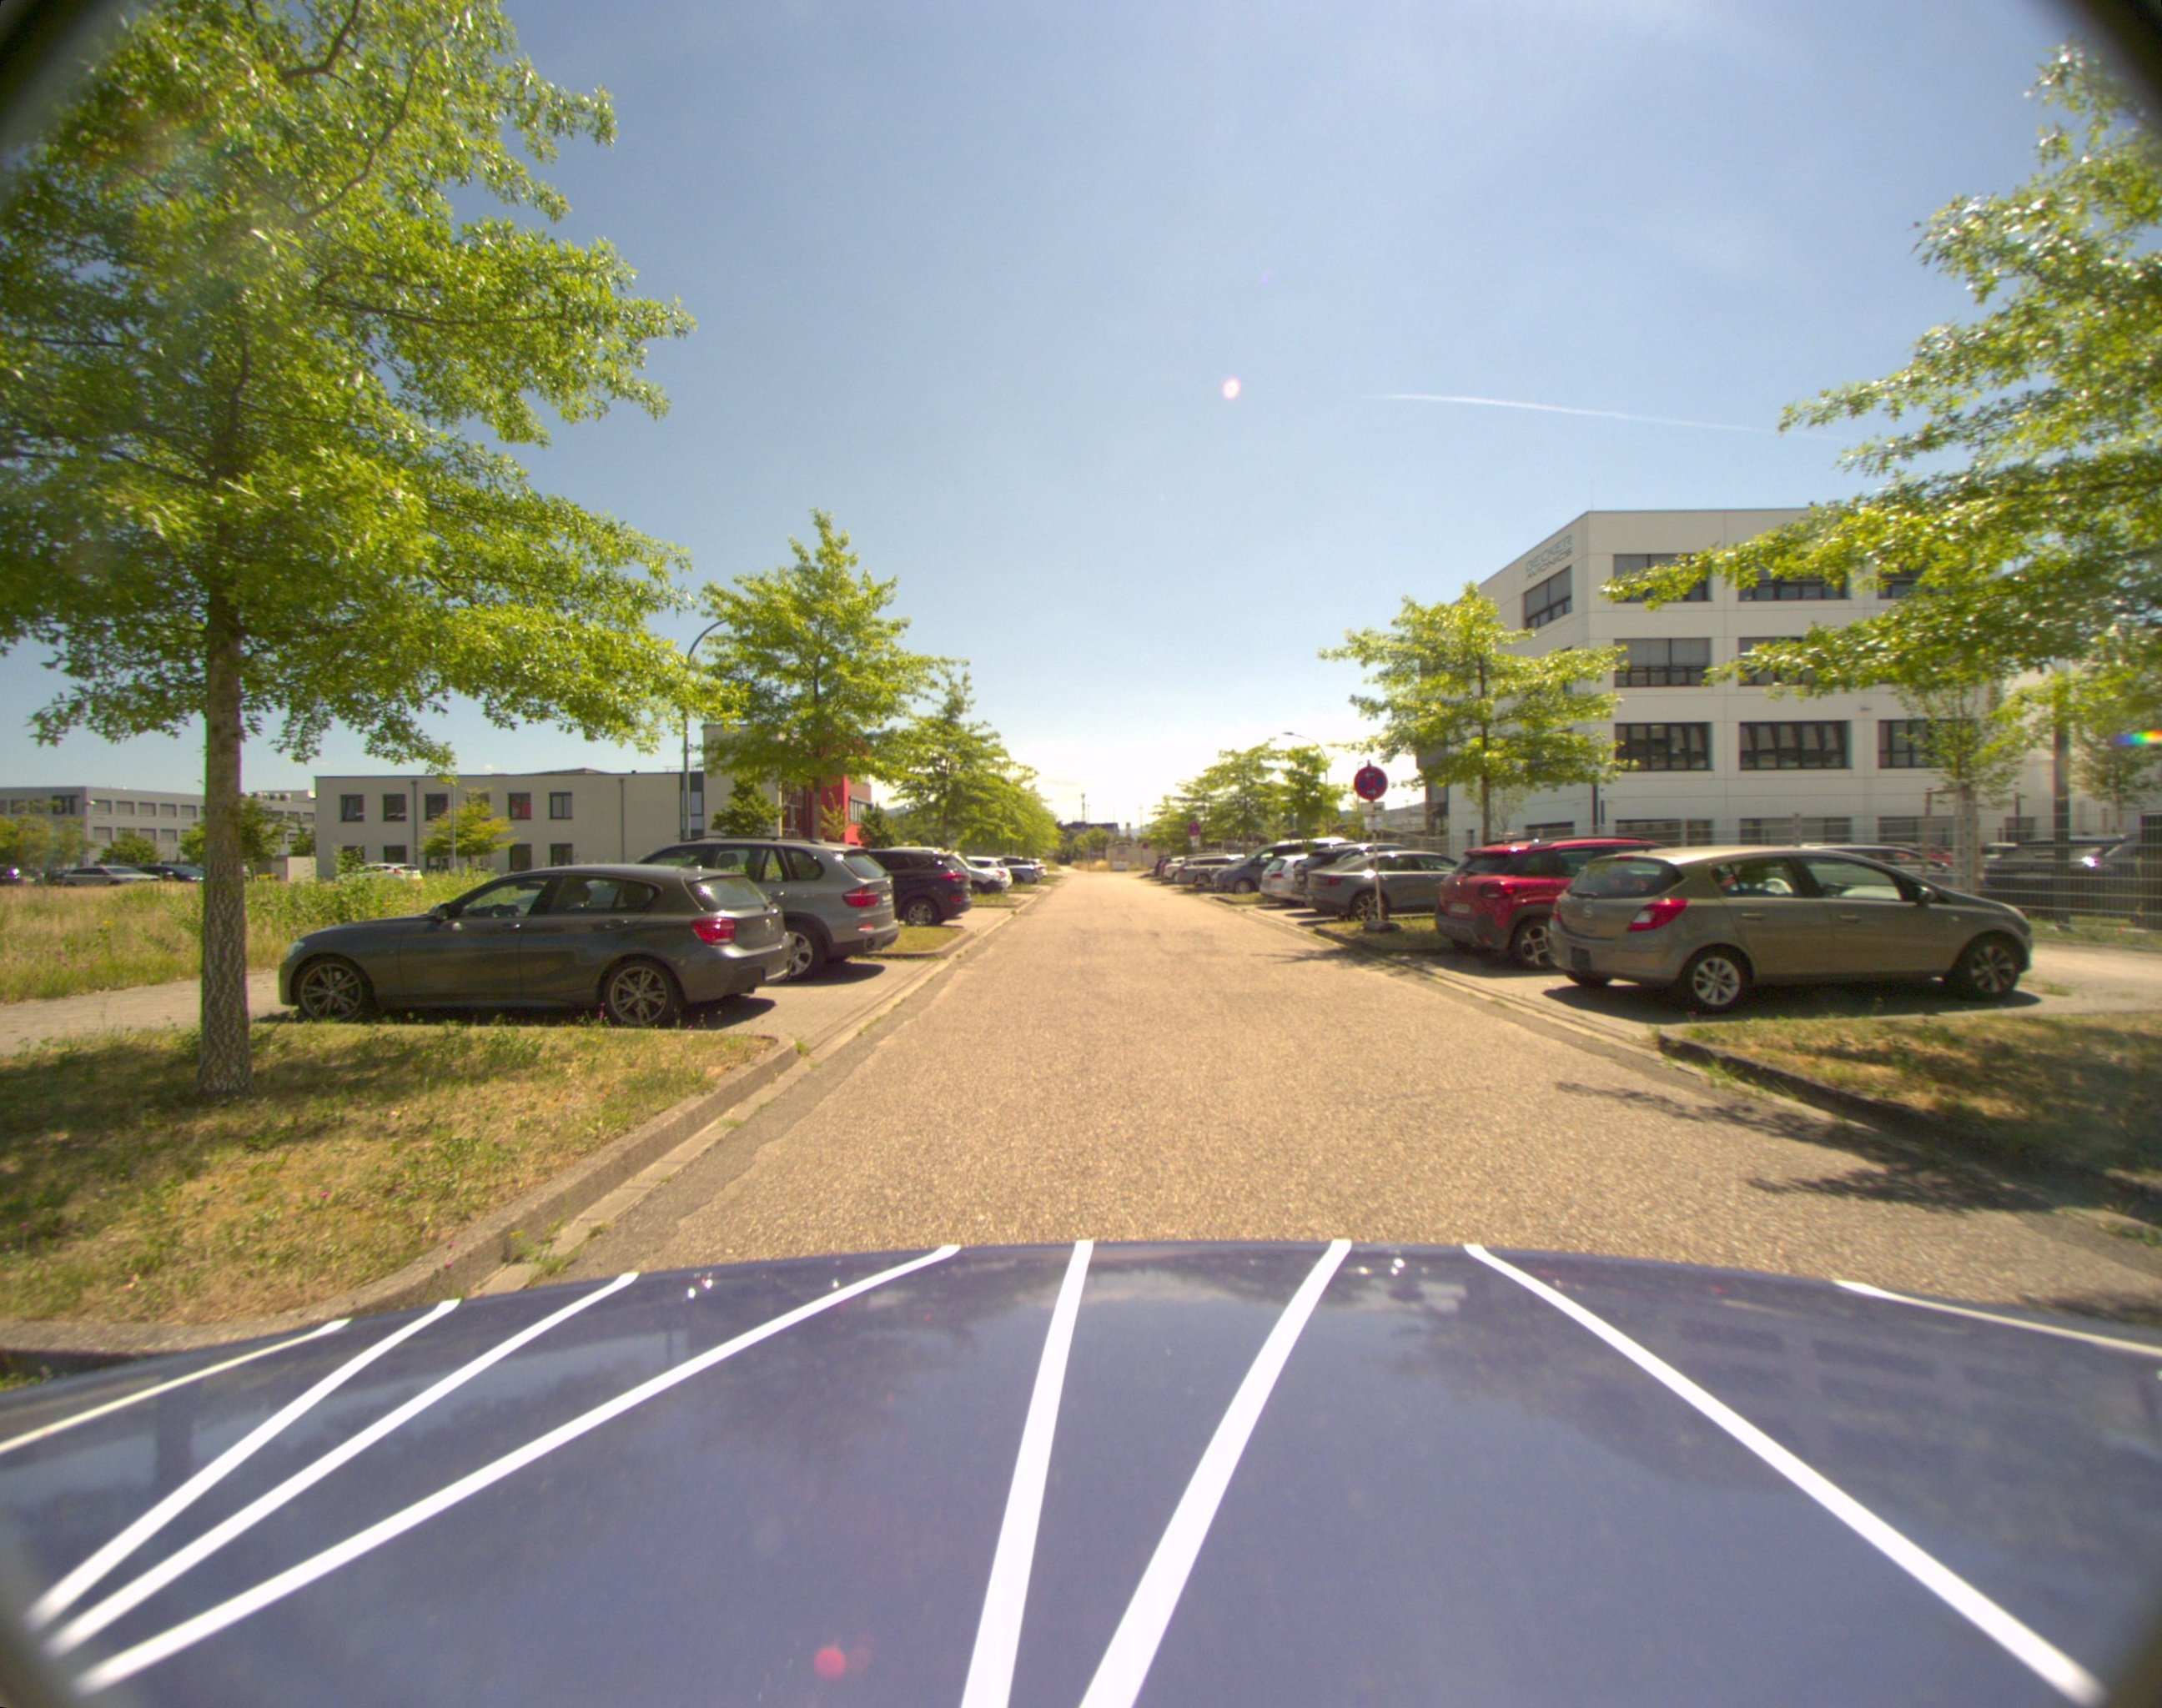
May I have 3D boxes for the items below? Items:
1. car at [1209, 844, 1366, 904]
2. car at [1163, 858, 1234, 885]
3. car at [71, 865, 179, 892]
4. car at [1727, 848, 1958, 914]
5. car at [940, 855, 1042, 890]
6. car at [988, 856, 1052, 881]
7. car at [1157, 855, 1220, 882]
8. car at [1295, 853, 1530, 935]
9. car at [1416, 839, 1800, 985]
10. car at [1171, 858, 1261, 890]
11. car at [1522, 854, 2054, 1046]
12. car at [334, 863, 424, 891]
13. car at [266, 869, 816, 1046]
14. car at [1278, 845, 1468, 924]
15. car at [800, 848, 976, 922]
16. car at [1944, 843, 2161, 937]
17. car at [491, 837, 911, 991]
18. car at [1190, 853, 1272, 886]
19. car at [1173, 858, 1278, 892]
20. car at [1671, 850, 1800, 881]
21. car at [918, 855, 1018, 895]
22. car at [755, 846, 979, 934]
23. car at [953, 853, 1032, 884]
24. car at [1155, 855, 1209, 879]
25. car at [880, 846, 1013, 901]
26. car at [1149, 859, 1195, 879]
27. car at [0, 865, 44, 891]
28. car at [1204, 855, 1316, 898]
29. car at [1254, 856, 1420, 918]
[{"bbox_3d":[7.312,0.701,27.292,5.082,1.880,1.997,-2,0,2],"label":"car"},{"bbox_3d":[7.357,1.098,47.995,4.182,1.504,1.808,-3,-1,2],"label":"car"},{"bbox_3d":[-54.801,1.374,43.615,3.997,1.501,1.719,0,0,-1],"label":"car"},{"bbox_3d":[16.867,0.580,16.962,3.488,1.382,1.678,0,0,0],"label":"car"},{"bbox_3d":[-4.276,0.861,36.654,4.729,1.552,1.913,1,0,-3],"label":"car"},{"bbox_3d":[-3.864,0.918,48.745,3.842,1.544,1.780,0,-1,6],"label":"car"},{"bbox_3d":[7.173,0.958,50.883,3.849,1.582,1.727,-2,0,-2],"label":"car"},{"bbox_3d":[6.932,0.810,16.201,4.203,1.471,1.713,-3,0,1],"label":"car"},{"bbox_3d":[6.707,0.701,10.012,3.747,1.612,1.816,-2,0,1],"label":"car"},{"bbox_3d":[6.971,1.012,39.461,4.322,1.464,1.727,-2,0,-2],"label":"car"},{"bbox_3d":[6.673,0.822,7.456,3.666,1.500,1.731,-2,0,-3],"label":"car"},{"bbox_3d":[-38.137,1.223,41.328,3.331,1.501,1.719,0,0,1],"label":"car"},{"bbox_3d":[-4.883,0.891,7.360,3.932,1.401,1.909,0,1,0],"label":"car"},{"bbox_3d":[7.197,0.721,18.953,3.998,1.669,1.776,-3,0,-4],"label":"car"},{"bbox_3d":[-4.685,0.734,18.848,3.885,1.668,1.782,1,0,1],"label":"car"},{"bbox_3d":[16.656,0.565,12.280,3.488,1.382,1.678,1,0,0],"label":"car"},{"bbox_3d":[-4.689,0.717,9.947,4.461,1.758,1.992,1,0,-1],"label":"car"},{"bbox_3d":[8.196,0.846,41.786,4.127,1.625,1.728,-2,0,2],"label":"car"},{"bbox_3d":[6.983,0.996,36.993,4.725,1.439,1.857,-2,0,-1],"label":"car"},{"bbox_3d":[27.512,0.449,32.133,1.998,1.221,3.999,0,1,0],"label":"car"},{"bbox_3d":[-4.446,0.821,30.224,3.640,1.494,1.676,1,0,2],"label":"car"},{"bbox_3d":[-4.384,0.724,16.010,4.184,1.686,1.782,1,0,0],"label":"car"},{"bbox_3d":[-4.822,0.795,41.726,4.056,1.615,1.693,1,0,1],"label":"car"},{"bbox_3d":[7.613,0.982,57.468,3.915,1.582,1.728,-2,0,4],"label":"car"},{"bbox_3d":[-4.803,0.682,27.524,4.413,1.819,1.796,1,0,2],"label":"car"},{"bbox_3d":[7.419,1.237,62.201,3.513,1.432,1.727,-2,0,0],"label":"car"},{"bbox_3d":[-65.286,1.410,45.510,3.997,1.501,1.719,0,0,1],"label":"car"},{"bbox_3d":[7.069,0.881,30.248,3.978,1.475,1.764,-3,0,1],"label":"car"},{"bbox_3d":[7.093,0.886,21.281,4.048,1.452,1.604,-3,0,-2],"label":"car"}]
